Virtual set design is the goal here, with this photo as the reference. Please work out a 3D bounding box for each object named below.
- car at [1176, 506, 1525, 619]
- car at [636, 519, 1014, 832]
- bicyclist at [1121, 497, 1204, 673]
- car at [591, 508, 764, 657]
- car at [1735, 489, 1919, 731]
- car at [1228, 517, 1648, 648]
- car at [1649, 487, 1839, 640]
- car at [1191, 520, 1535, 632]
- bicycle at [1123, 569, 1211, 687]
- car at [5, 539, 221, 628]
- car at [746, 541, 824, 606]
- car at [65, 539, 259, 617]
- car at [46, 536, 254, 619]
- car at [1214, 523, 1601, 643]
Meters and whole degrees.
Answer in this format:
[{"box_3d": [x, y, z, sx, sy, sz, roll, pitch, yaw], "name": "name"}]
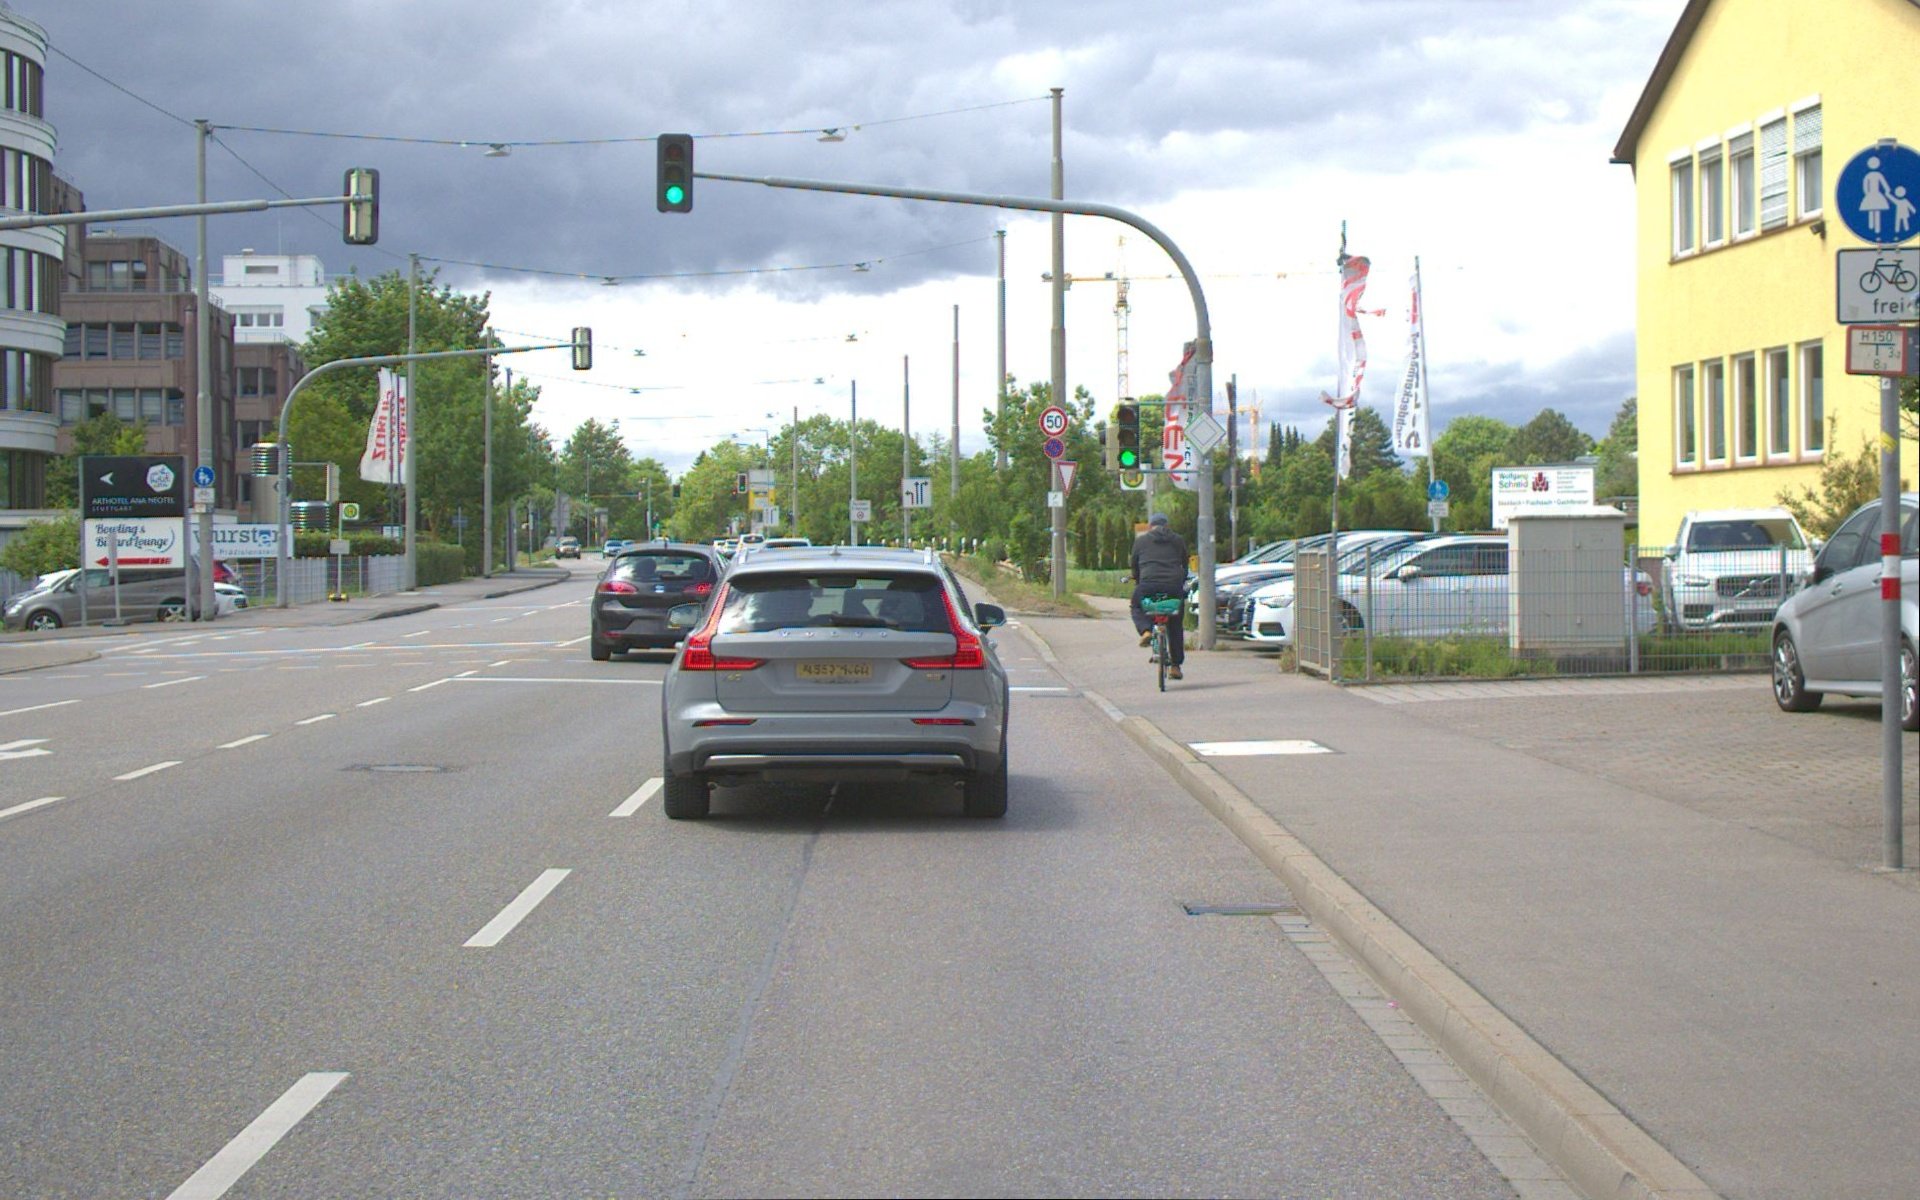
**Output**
[{"box_3d": [5.614, -0.557, 49.895, 4.800, 1.475, 2.032, 1, 1, 0], "name": "car"}, {"box_3d": [-0.688, 0.374, 19.601, 1.895, 1.549, 4.000, 2, 0, 0], "name": "car"}, {"box_3d": [1.989, -0.158, 33.880, 0.638, 1.670, 0.890, -4, 1, -1], "name": "bicyclist"}, {"box_3d": [-3.461, -0.221, 42.631, 1.993, 1.711, 4.001, 2, 0, -4], "name": "car"}, {"box_3d": [6.962, -0.004, 24.066, 1.875, 1.540, 4.522, -1, 1, -2], "name": "car"}, {"box_3d": [5.678, -0.229, 41.264, 4.696, 1.488, 2.046, 0, 2, -2], "name": "car"}, {"box_3d": [9.918, -0.455, 43.831, 1.977, 1.815, 5.028, -1, 0, 9], "name": "car"}, {"box_3d": [5.460, -0.344, 47.006, 4.368, 1.399, 1.989, 1, 1, -3], "name": "car"}, {"box_3d": [2.019, 0.255, 33.727, 0.638, 1.059, 1.977, -4, 1, -1], "name": "bicycle"}, {"box_3d": [-17.656, -0.362, 71.833, 4.092, 1.393, 1.909, -6, 3, -8], "name": "car"}, {"box_3d": [-4.728, -0.714, 93.392, 1.993, 1.689, 4.000, 2, 0, -2], "name": "car"}, {"box_3d": [-18.419, -0.518, 79.495, 3.987, 1.365, 1.848, -6, 1, -3], "name": "car"}, {"box_3d": [-18.088, -0.509, 76.947, 4.222, 1.382, 1.985, -6, 1, -7], "name": "car"}, {"box_3d": [5.686, -0.238, 44.142, 4.659, 1.488, 2.035, 0, 1, -1], "name": "car"}]
